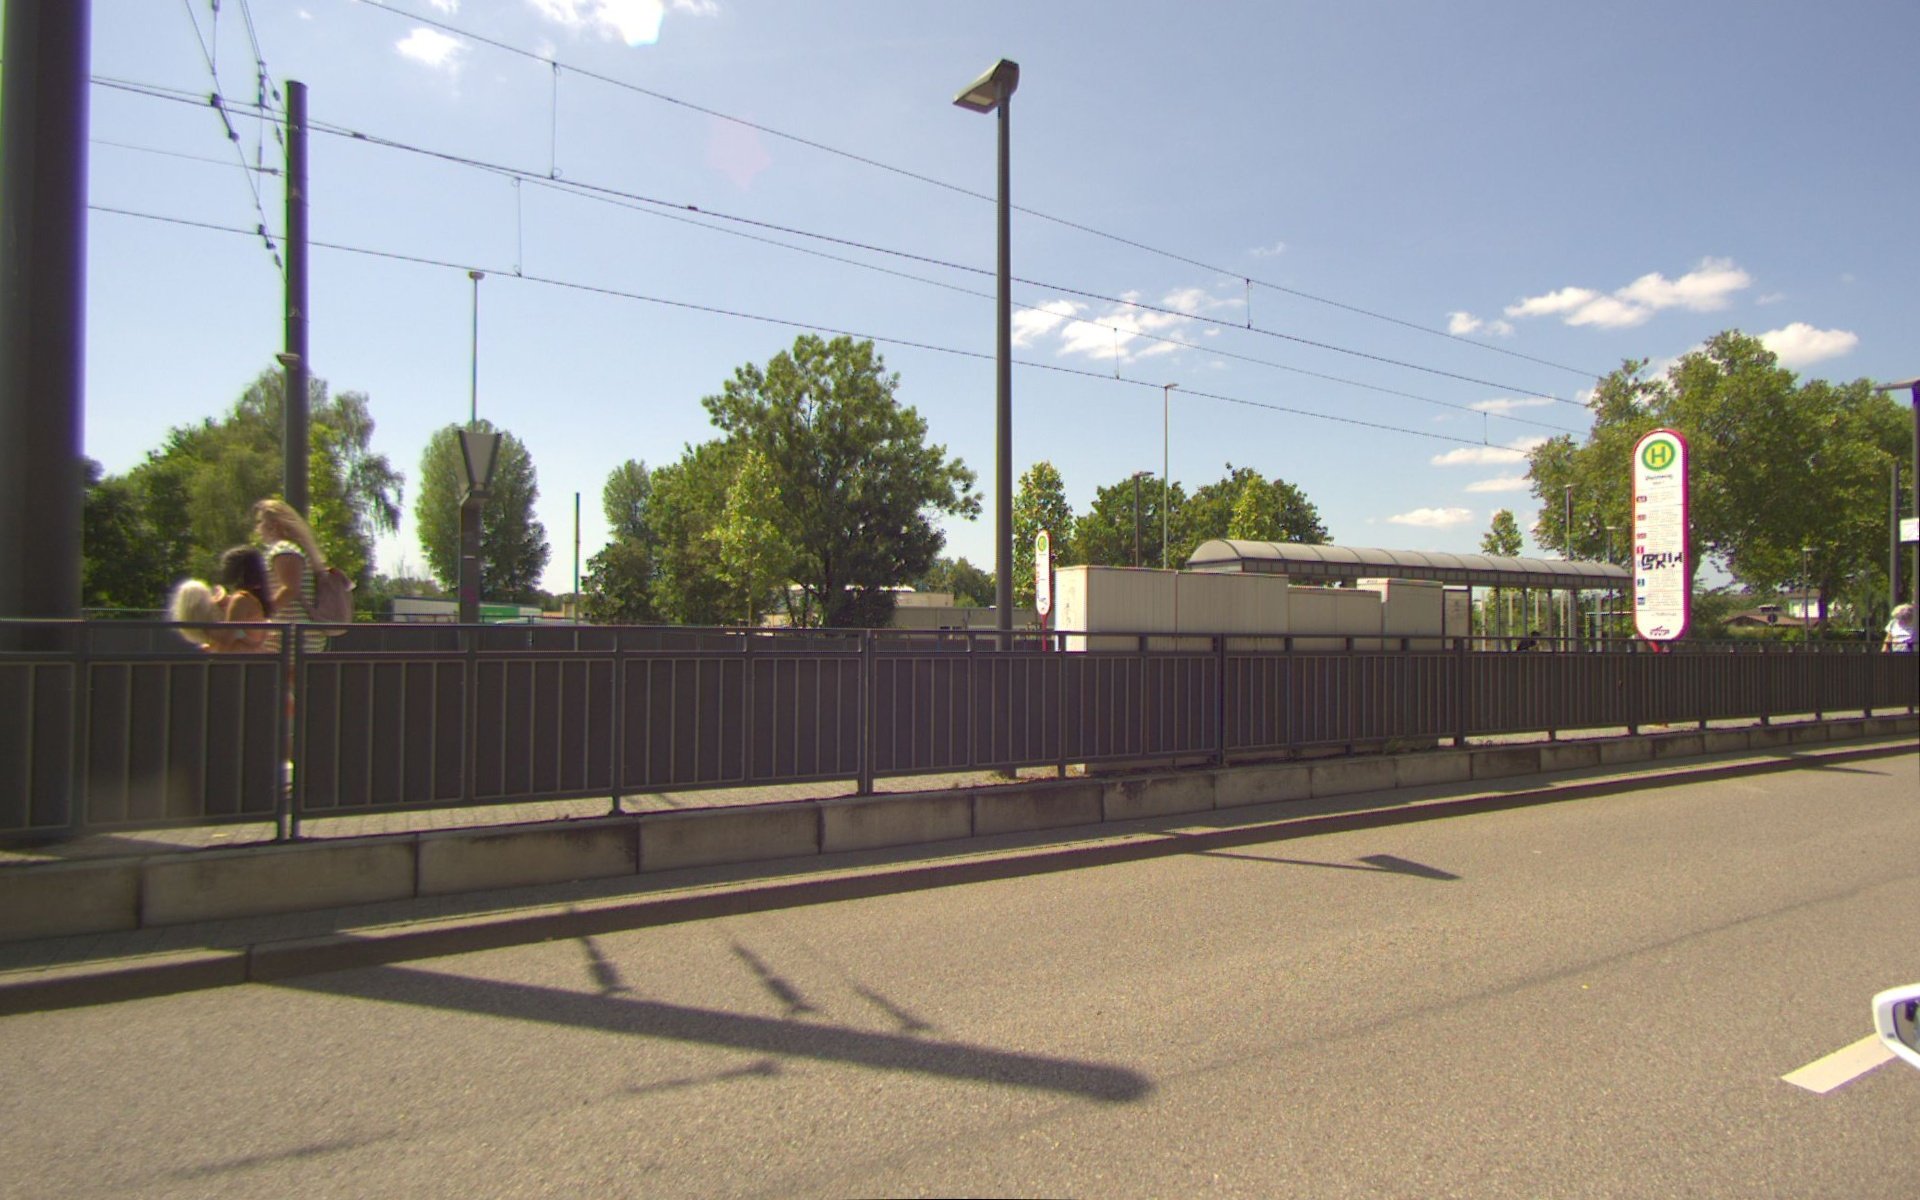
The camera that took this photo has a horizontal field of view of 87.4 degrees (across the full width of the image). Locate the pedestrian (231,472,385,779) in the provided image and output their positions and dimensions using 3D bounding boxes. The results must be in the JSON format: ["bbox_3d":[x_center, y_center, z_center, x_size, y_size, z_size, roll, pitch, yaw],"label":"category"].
[{"bbox_3d":[-3.878,0.150,6.023,0.711,1.703,0.610,1,0,-31],"label":"pedestrian"}]

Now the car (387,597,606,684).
[{"bbox_3d":[-9.597,0.818,20.893,3.951,1.650,1.985,2,0,-29],"label":"car"}]

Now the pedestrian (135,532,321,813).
[{"bbox_3d":[-3.830,0.358,5.314,0.711,1.363,0.610,1,0,-31],"label":"pedestrian"}]

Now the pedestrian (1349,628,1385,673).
[{"bbox_3d":[10.423,1.284,25.730,0.631,1.109,0.574,1,-1,-29],"label":"pedestrian"}]

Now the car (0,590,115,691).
[{"bbox_3d":[-17.094,0.645,16.751,4.227,1.650,1.985,1,-1,-28],"label":"car"}]

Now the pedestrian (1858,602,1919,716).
[{"bbox_3d":[14.307,0.882,15.311,0.733,1.687,0.729,1,-1,-30],"label":"pedestrian"}]

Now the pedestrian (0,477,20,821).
[{"bbox_3d":[-4.689,0.227,4.517,0.550,1.598,0.494,1,-1,-31],"label":"pedestrian"}]

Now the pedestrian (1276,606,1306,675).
[{"bbox_3d":[8.084,0.981,24.559,0.566,1.660,0.829,0,-1,8],"label":"pedestrian"}]

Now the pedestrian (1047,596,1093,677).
[{"bbox_3d":[2.331,0.762,21.229,0.799,1.660,0.553,1,-1,-37],"label":"pedestrian"}]

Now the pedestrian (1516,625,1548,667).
[{"bbox_3d":[16.842,1.353,29.594,0.631,1.206,0.574,1,-1,-29],"label":"pedestrian"}]
